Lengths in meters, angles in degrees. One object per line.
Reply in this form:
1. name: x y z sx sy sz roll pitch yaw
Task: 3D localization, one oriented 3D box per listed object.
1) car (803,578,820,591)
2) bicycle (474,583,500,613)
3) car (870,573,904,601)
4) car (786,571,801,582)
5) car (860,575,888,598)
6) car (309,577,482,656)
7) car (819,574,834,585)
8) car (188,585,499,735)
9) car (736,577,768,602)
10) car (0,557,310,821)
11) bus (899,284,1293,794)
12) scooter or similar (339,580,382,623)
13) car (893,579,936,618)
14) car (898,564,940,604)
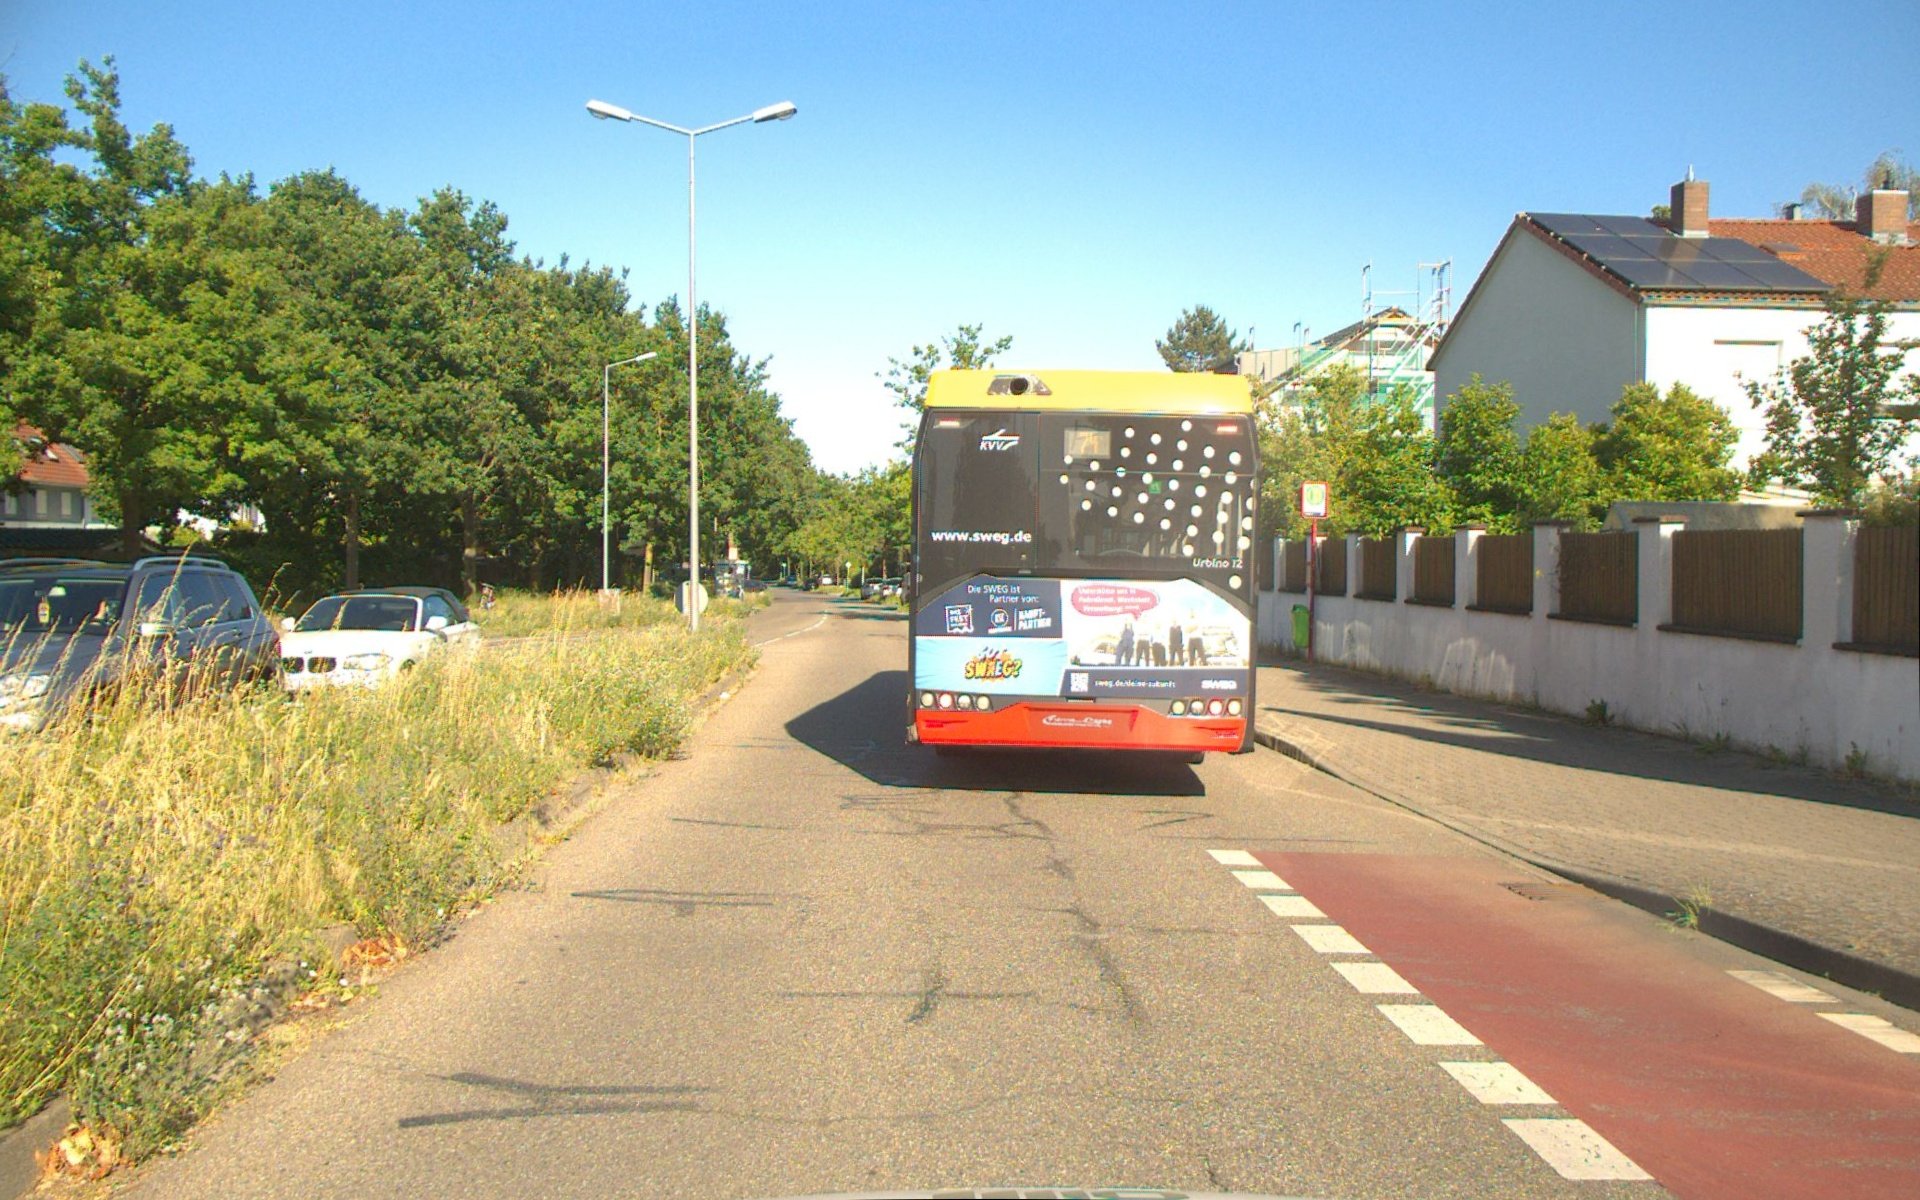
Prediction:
1. car: -17.745 -1.846 197.623 1.896 1.569 3.995 0 1 -6
2. bicycle: -17.568 -0.075 61.455 0.495 1.072 1.879 0 1 -3
3. car: -4.746 -0.863 107.094 1.899 1.734 3.995 0 1 -6
4. car: -22.384 -3.107 222.454 1.897 1.479 3.994 0 1 -8
5. car: -6.736 -1.063 129.435 1.896 1.772 3.995 0 1 -6
6. car: -11.369 0.291 33.599 1.673 1.455 4.004 -1 1 8
7. car: -18.070 -2.780 223.926 1.897 1.479 3.994 0 1 -8
8. car: -6.890 0.592 19.051 1.953 1.476 4.399 0 1 -1
9. car: -12.780 -0.633 101.413 1.899 1.505 3.993 0 1 -8
10. car: -6.806 0.516 12.573 1.953 1.644 4.530 0 1 -1
11. bus: 1.017 -0.441 17.704 2.700 3.518 12.399 -1 0 1
12. scooter or similar: -17.967 0.041 49.620 0.527 1.240 1.415 2 2 12
13. car: -1.991 -0.082 70.931 1.639 1.606 3.748 -1 1 -4
14. car: -2.183 -0.847 86.881 1.800 2.005 4.752 0 1 -6
